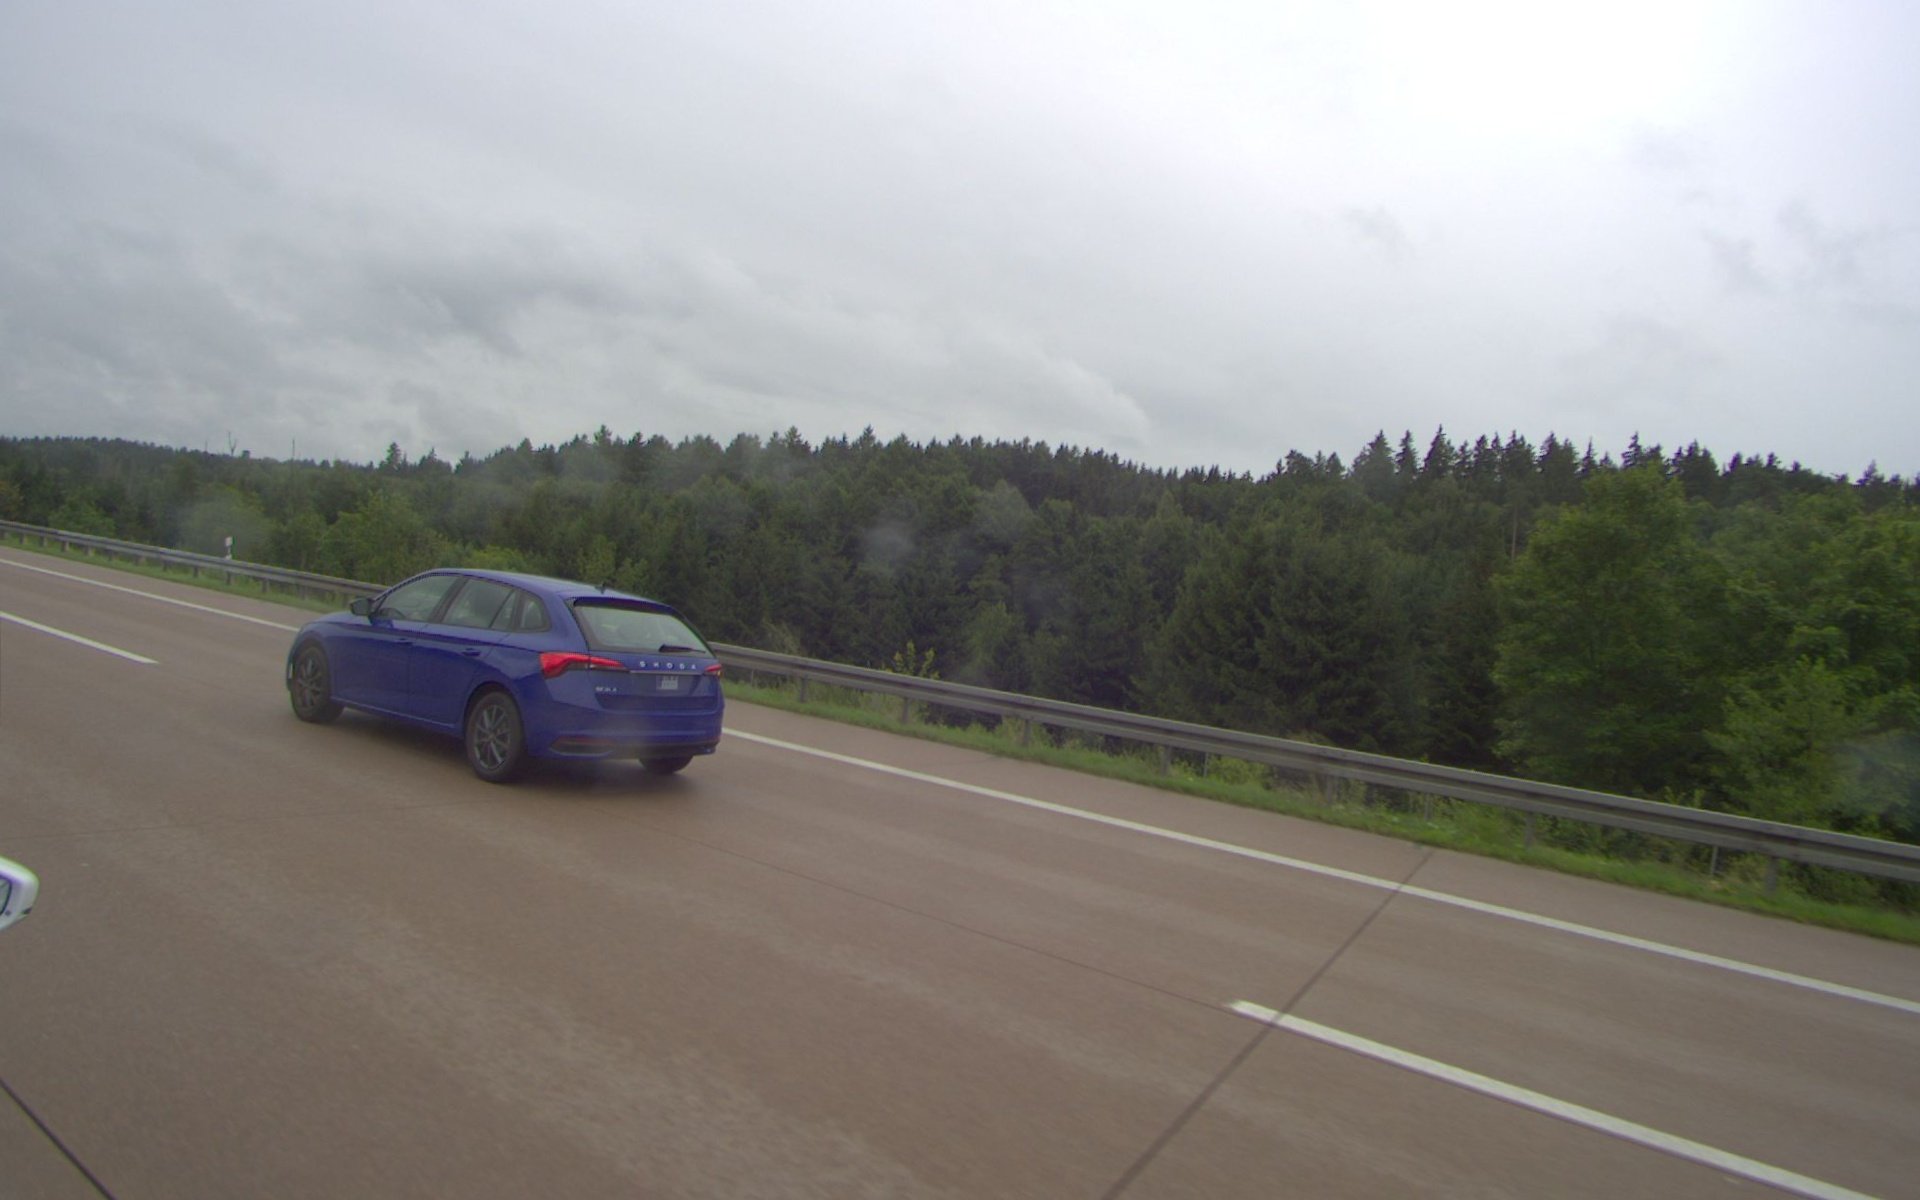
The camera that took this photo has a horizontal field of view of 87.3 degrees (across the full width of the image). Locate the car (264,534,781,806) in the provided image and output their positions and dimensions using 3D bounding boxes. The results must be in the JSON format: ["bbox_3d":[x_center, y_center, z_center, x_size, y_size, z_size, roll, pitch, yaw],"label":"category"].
[{"bbox_3d":[-3.689,0.470,8.297,4.078,1.582,1.775,5,-3,32],"label":"car"}]
